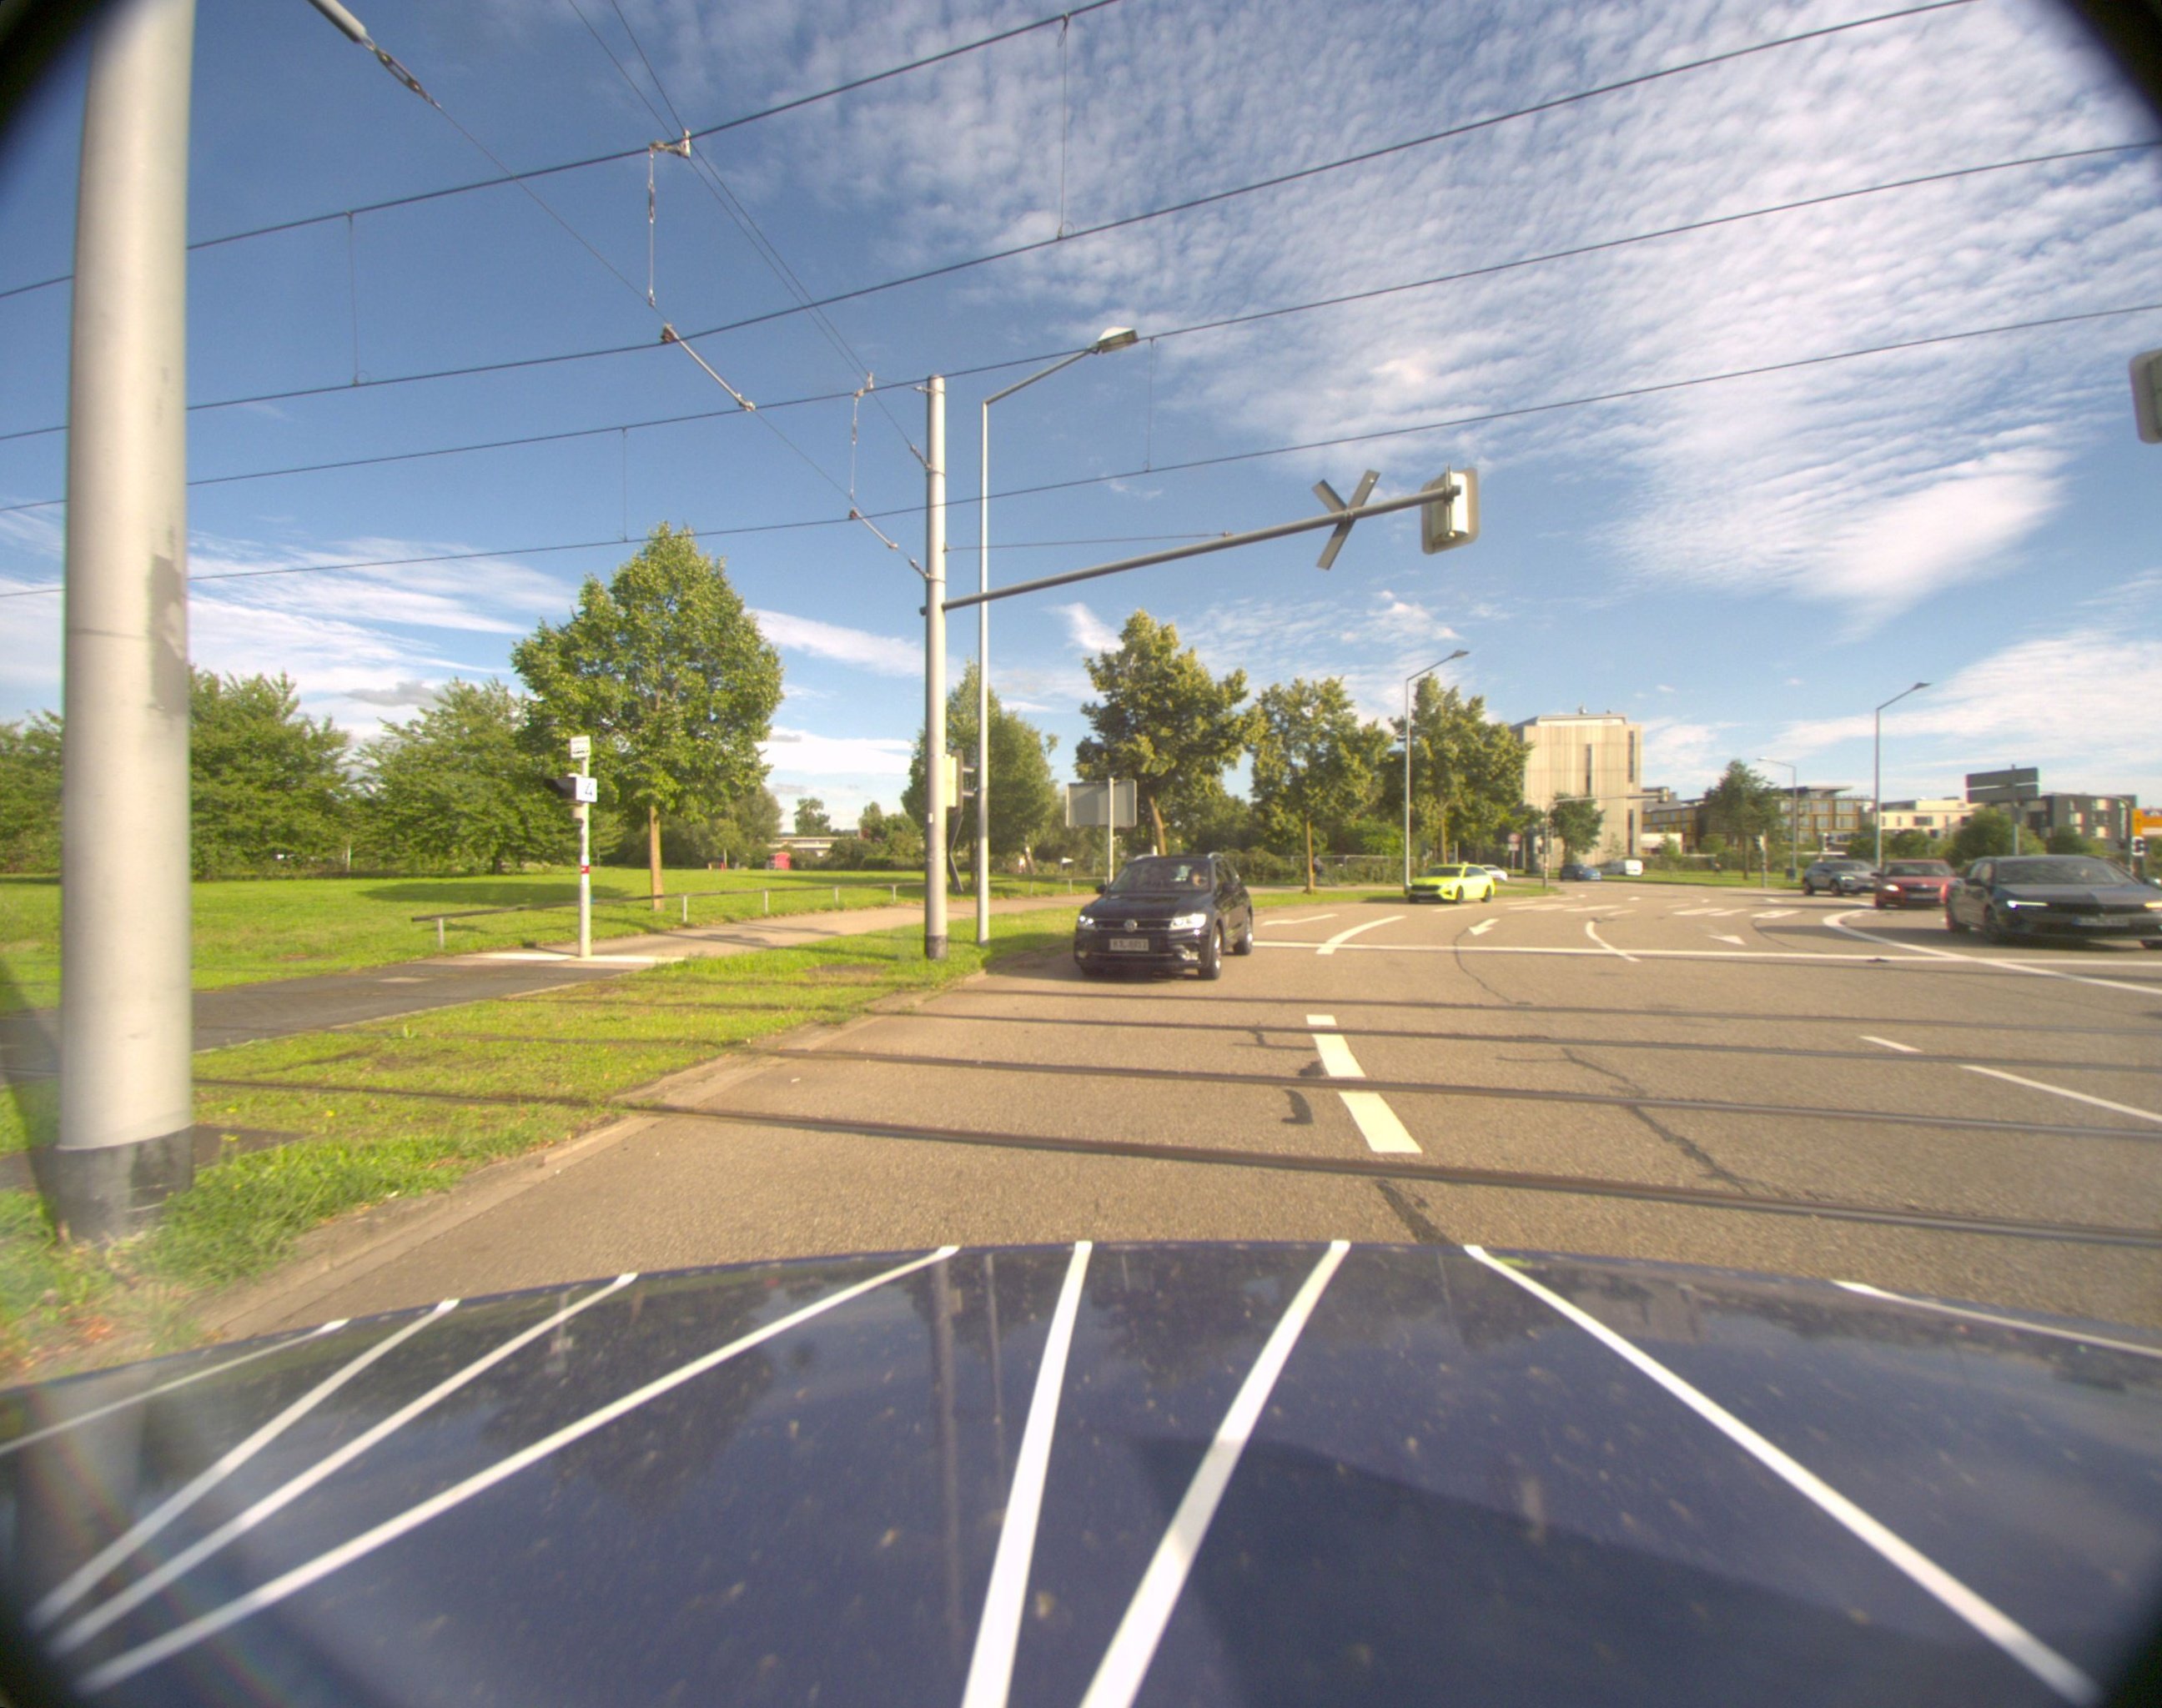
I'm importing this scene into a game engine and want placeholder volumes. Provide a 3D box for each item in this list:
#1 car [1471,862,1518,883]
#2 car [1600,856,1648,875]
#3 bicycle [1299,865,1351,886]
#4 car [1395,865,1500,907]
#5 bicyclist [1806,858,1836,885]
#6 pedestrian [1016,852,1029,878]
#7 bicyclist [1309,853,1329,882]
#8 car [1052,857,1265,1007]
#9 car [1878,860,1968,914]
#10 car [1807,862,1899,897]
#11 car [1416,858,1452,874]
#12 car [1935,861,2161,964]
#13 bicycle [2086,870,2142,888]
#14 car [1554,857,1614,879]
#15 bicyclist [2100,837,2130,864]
[{"bbox_3d":[35.445,1.561,65.278,1.997,1.652,4.806,0,0,7],"label":"car"},{"bbox_3d":[55.082,1.180,77.230,1.684,1.814,4.562,2,0,2],"label":"car"},{"bbox_3d":[13.209,1.161,41.161,2.599,1.119,0.804,0,1,3],"label":"bicycle"},{"bbox_3d":[13.672,1.142,28.233,4.618,1.412,1.892,1,-1,-41],"label":"car"},{"bbox_3d":[43.618,1.032,44.773,0.864,1.547,0.998,0,0,12],"label":"bicyclist"},{"bbox_3d":[-3.983,0.756,51.711,0.595,1.722,0.669,0,1,30],"label":"pedestrian"},{"bbox_3d":[12.897,0.717,41.188,0.904,1.538,0.804,0,1,3],"label":"bicyclist"},{"bbox_3d":[1.438,0.904,11.387,1.868,1.685,5.023,0,0,22],"label":"car"},{"bbox_3d":[25.153,0.942,22.682,4.236,1.466,1.690,1,-2,-41],"label":"car"},{"bbox_3d":[34.238,1.104,33.814,1.690,1.466,4.236,-1,-1,28],"label":"car"},{"bbox_3d":[37.172,1.244,80.145,1.997,1.652,4.805,0,0,7],"label":"car"},{"bbox_3d":[16.441,0.861,12.965,1.819,1.412,4.456,-1,0,40],"label":"car"},{"bbox_3d":[57.347,1.367,42.199,1.833,0.982,0.612,0,0,19],"label":"bicycle"},{"bbox_3d":[41.175,1.118,62.366,1.998,1.652,4.805,0,0,5],"label":"car"},{"bbox_3d":[57.377,-0.187,42.179,0.696,1.437,0.612,2,2,19],"label":"bicyclist"}]
